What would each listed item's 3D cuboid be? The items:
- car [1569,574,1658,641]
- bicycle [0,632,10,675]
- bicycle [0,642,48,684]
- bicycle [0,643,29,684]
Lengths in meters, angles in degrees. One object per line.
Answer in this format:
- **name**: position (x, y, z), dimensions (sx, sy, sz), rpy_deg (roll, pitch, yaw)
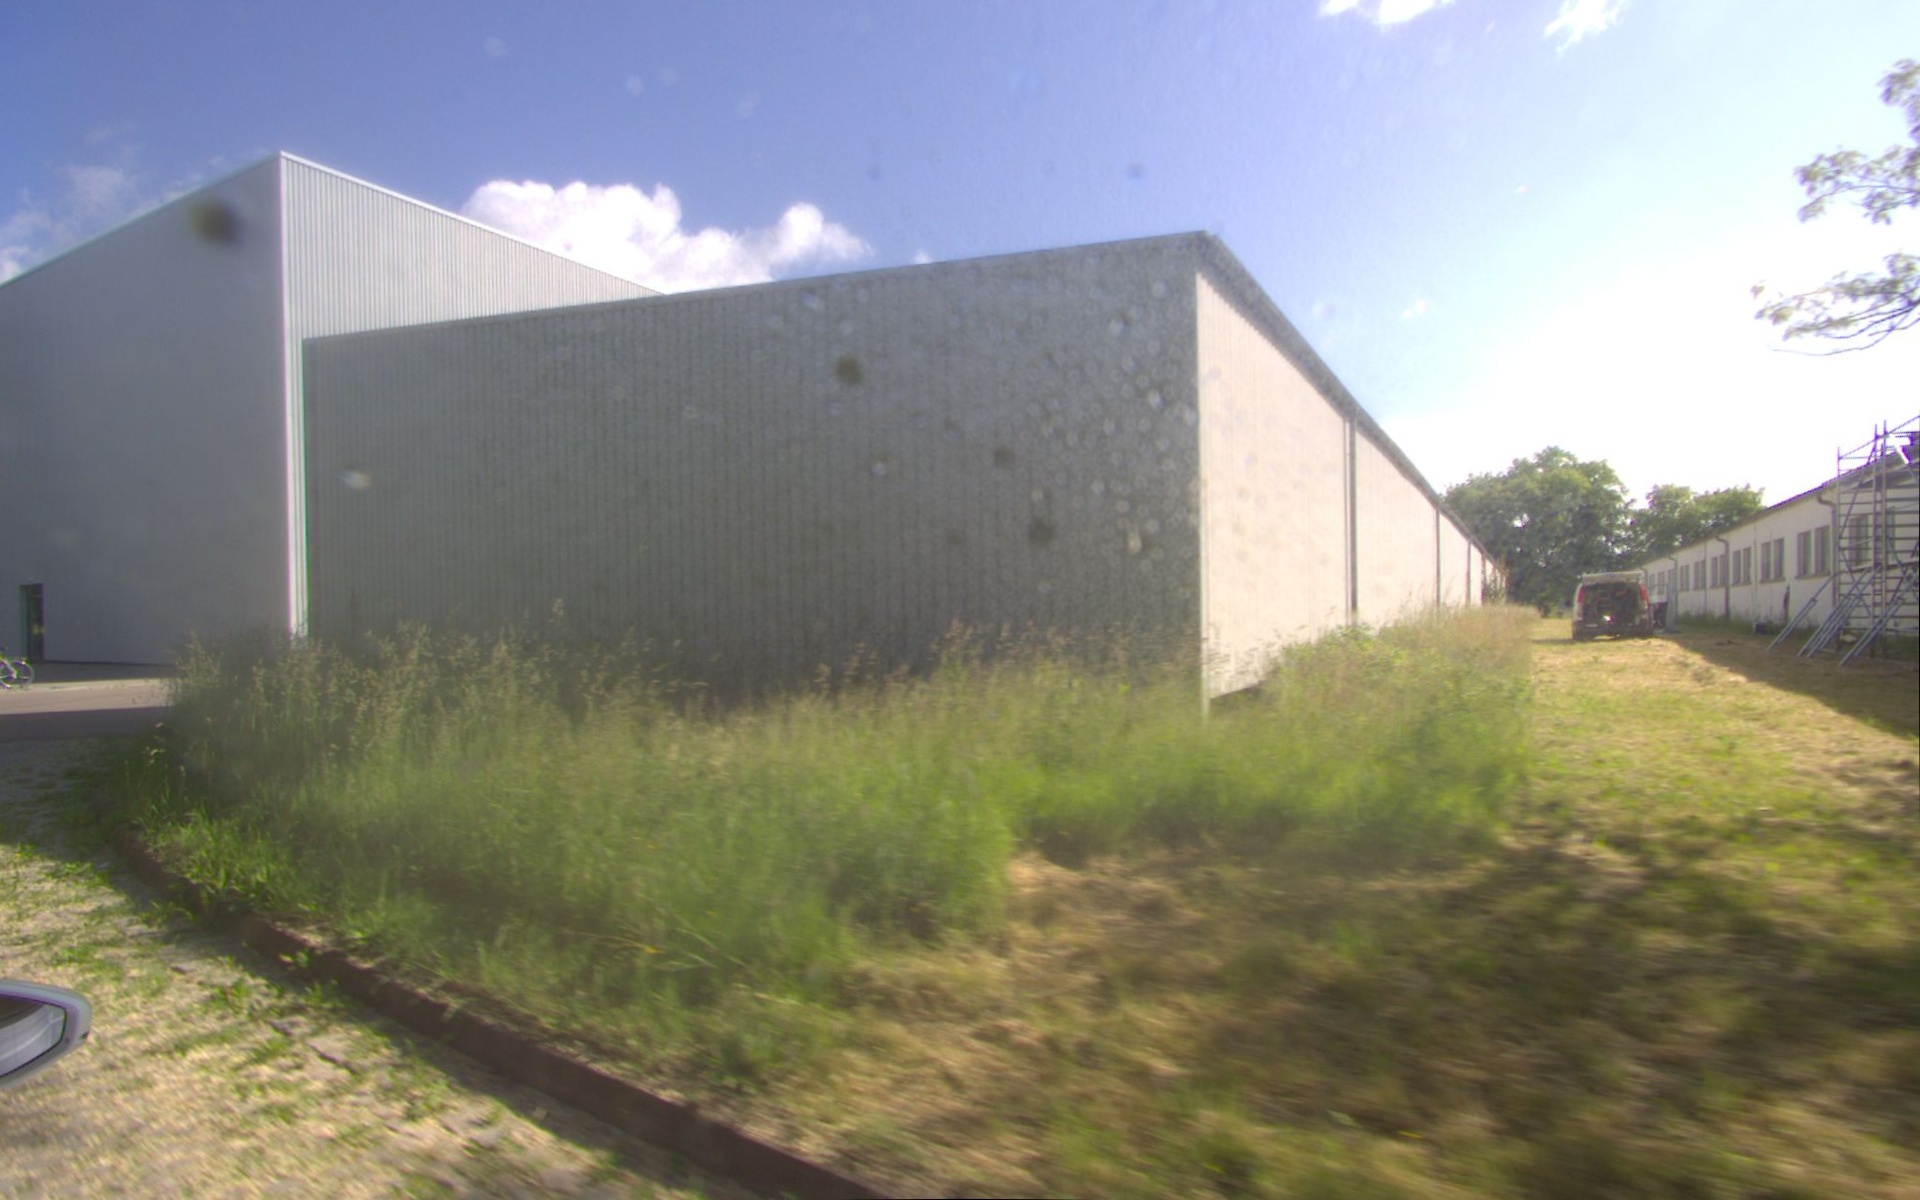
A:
- **car**: position (20.238, 0.247, 31.177), dimensions (2.049, 1.853, 4.252), rpy_deg (-3, -2, 31)
- **bicycle**: position (-25.286, 1.379, 25.234), dimensions (0.427, 1.096, 1.881), rpy_deg (-1, 0, 29)
- **bicycle**: position (-23.194, 1.531, 24.039), dimensions (0.427, 0.991, 1.881), rpy_deg (-1, 0, 29)
- **bicycle**: position (-24.193, 1.591, 24.603), dimensions (0.427, 0.991, 1.881), rpy_deg (-1, 0, 29)
